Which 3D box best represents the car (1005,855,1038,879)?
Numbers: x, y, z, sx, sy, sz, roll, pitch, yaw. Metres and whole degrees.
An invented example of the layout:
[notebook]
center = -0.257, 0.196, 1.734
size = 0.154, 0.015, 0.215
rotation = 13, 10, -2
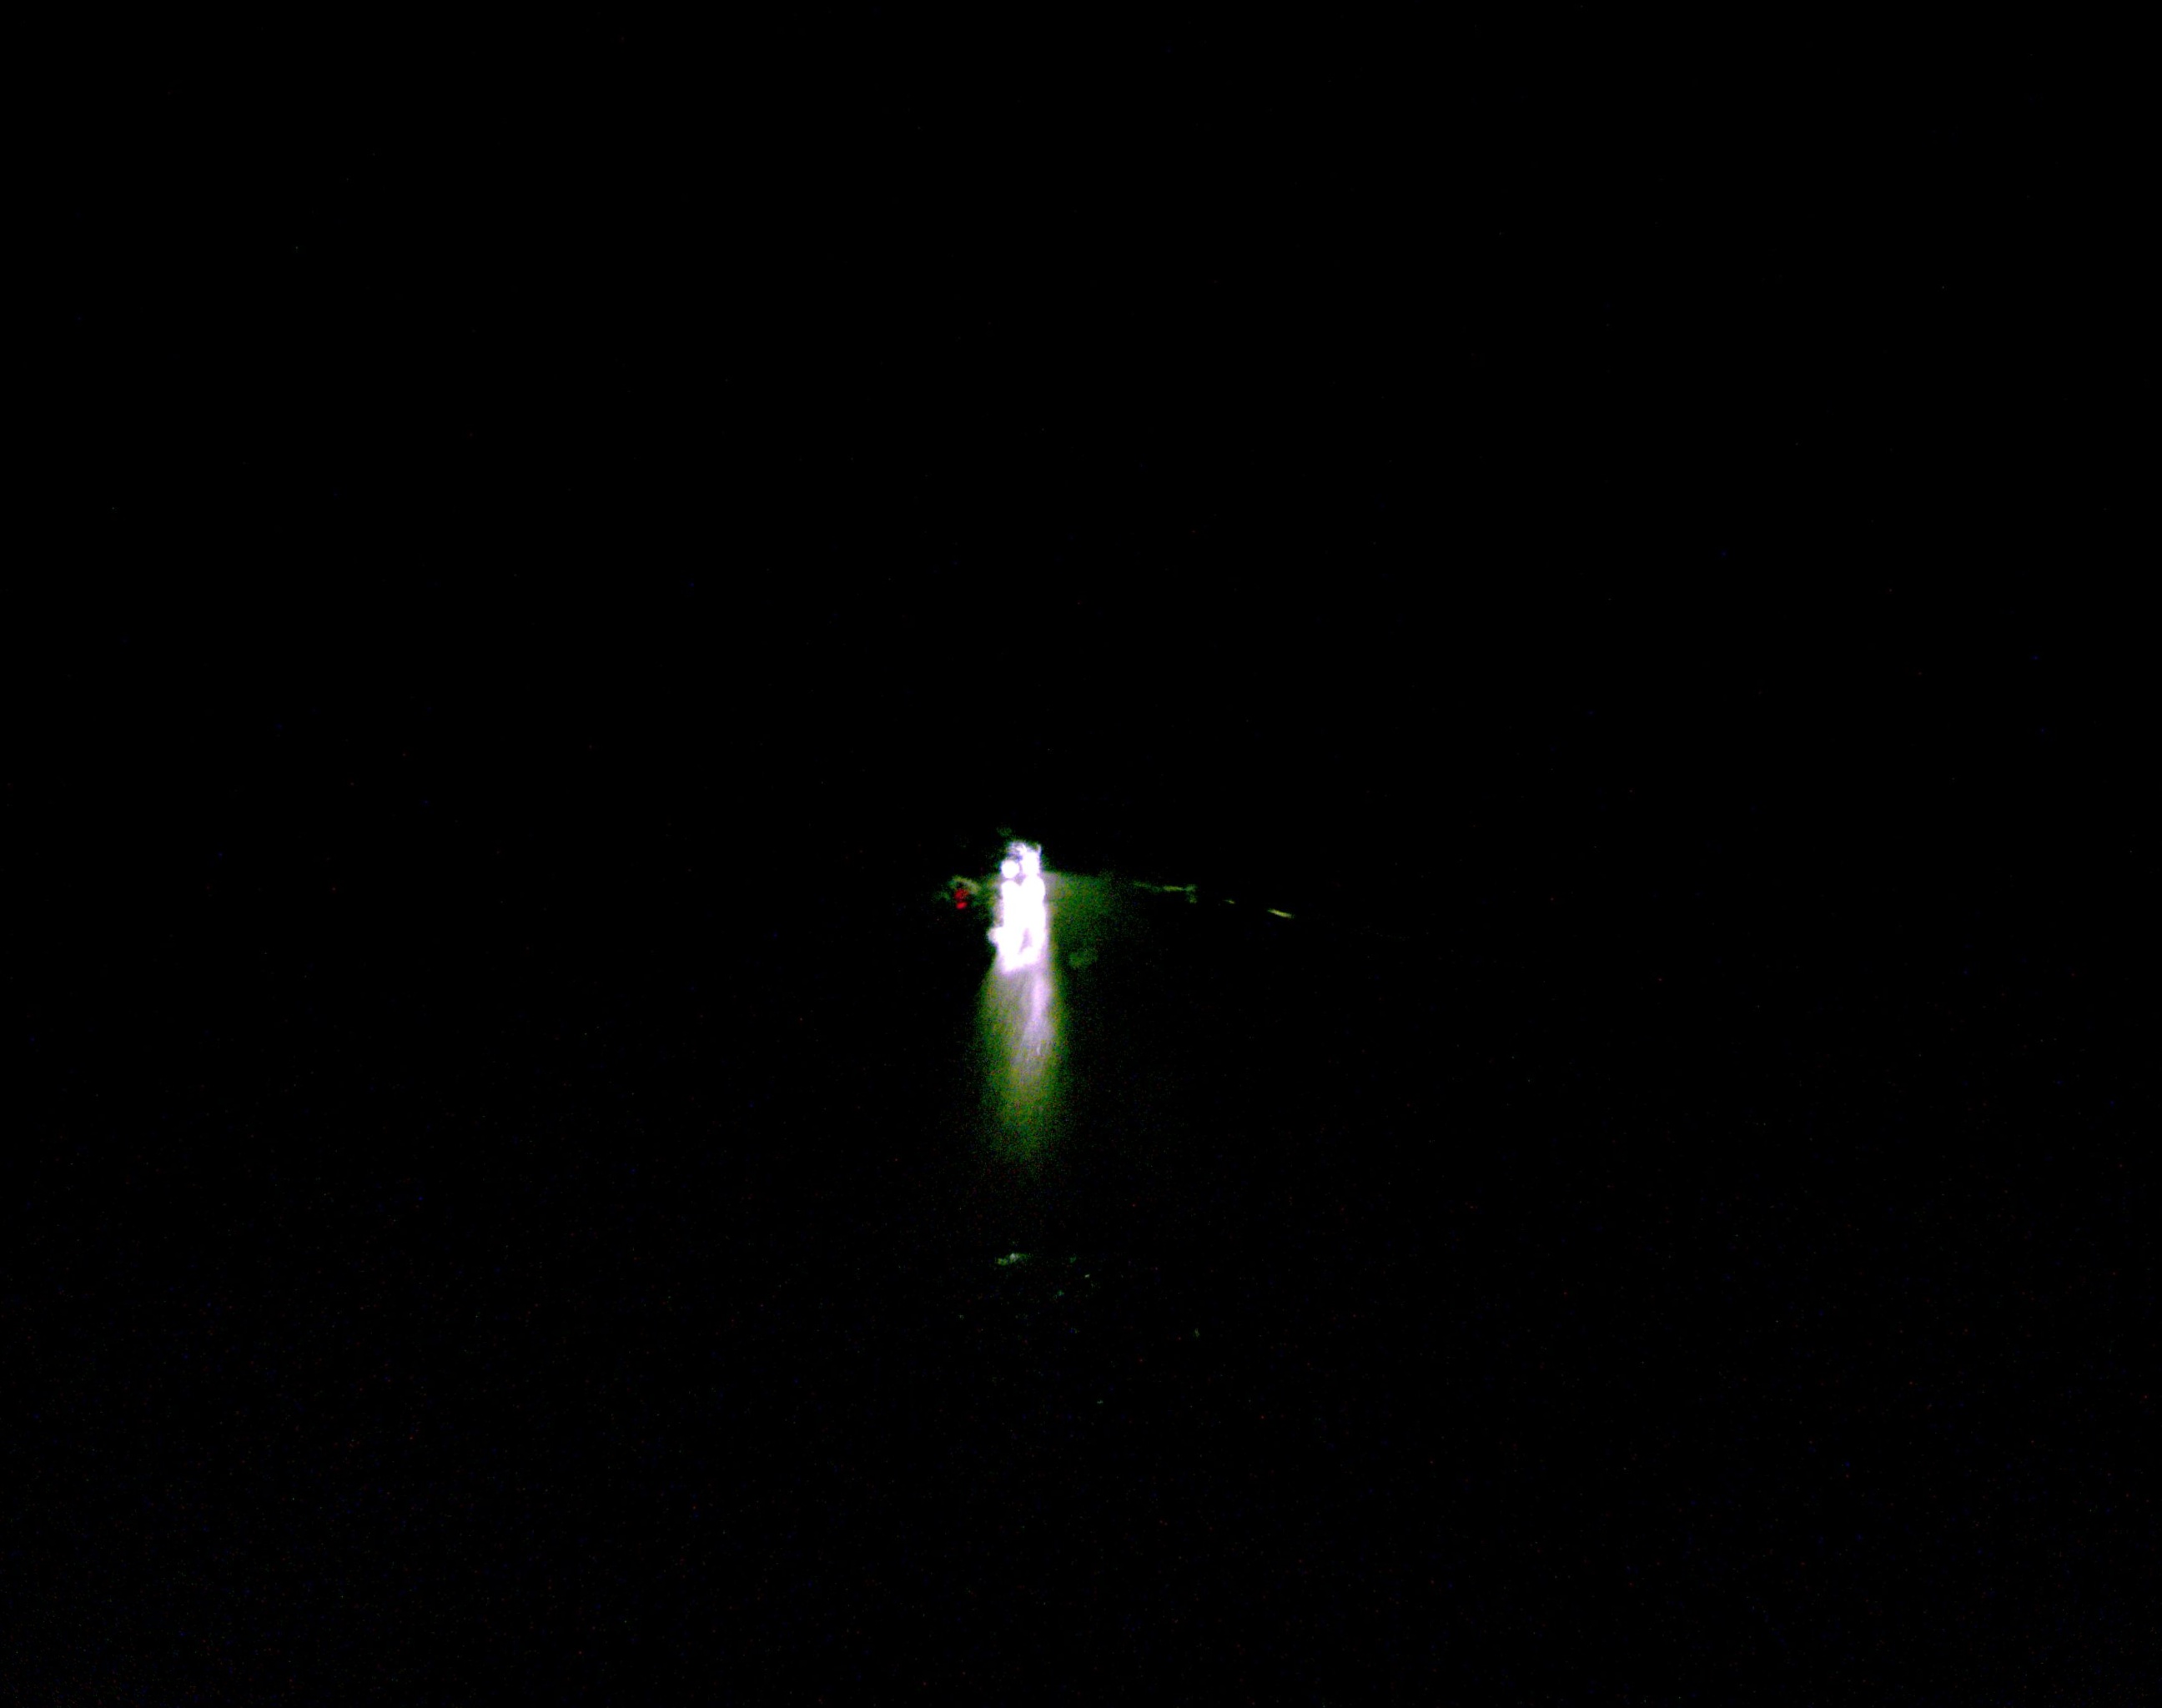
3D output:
[car]
center = -3.982, 0.848, 50.401
size = 2.000, 1.412, 3.997
rotation = -1, 1, -7
